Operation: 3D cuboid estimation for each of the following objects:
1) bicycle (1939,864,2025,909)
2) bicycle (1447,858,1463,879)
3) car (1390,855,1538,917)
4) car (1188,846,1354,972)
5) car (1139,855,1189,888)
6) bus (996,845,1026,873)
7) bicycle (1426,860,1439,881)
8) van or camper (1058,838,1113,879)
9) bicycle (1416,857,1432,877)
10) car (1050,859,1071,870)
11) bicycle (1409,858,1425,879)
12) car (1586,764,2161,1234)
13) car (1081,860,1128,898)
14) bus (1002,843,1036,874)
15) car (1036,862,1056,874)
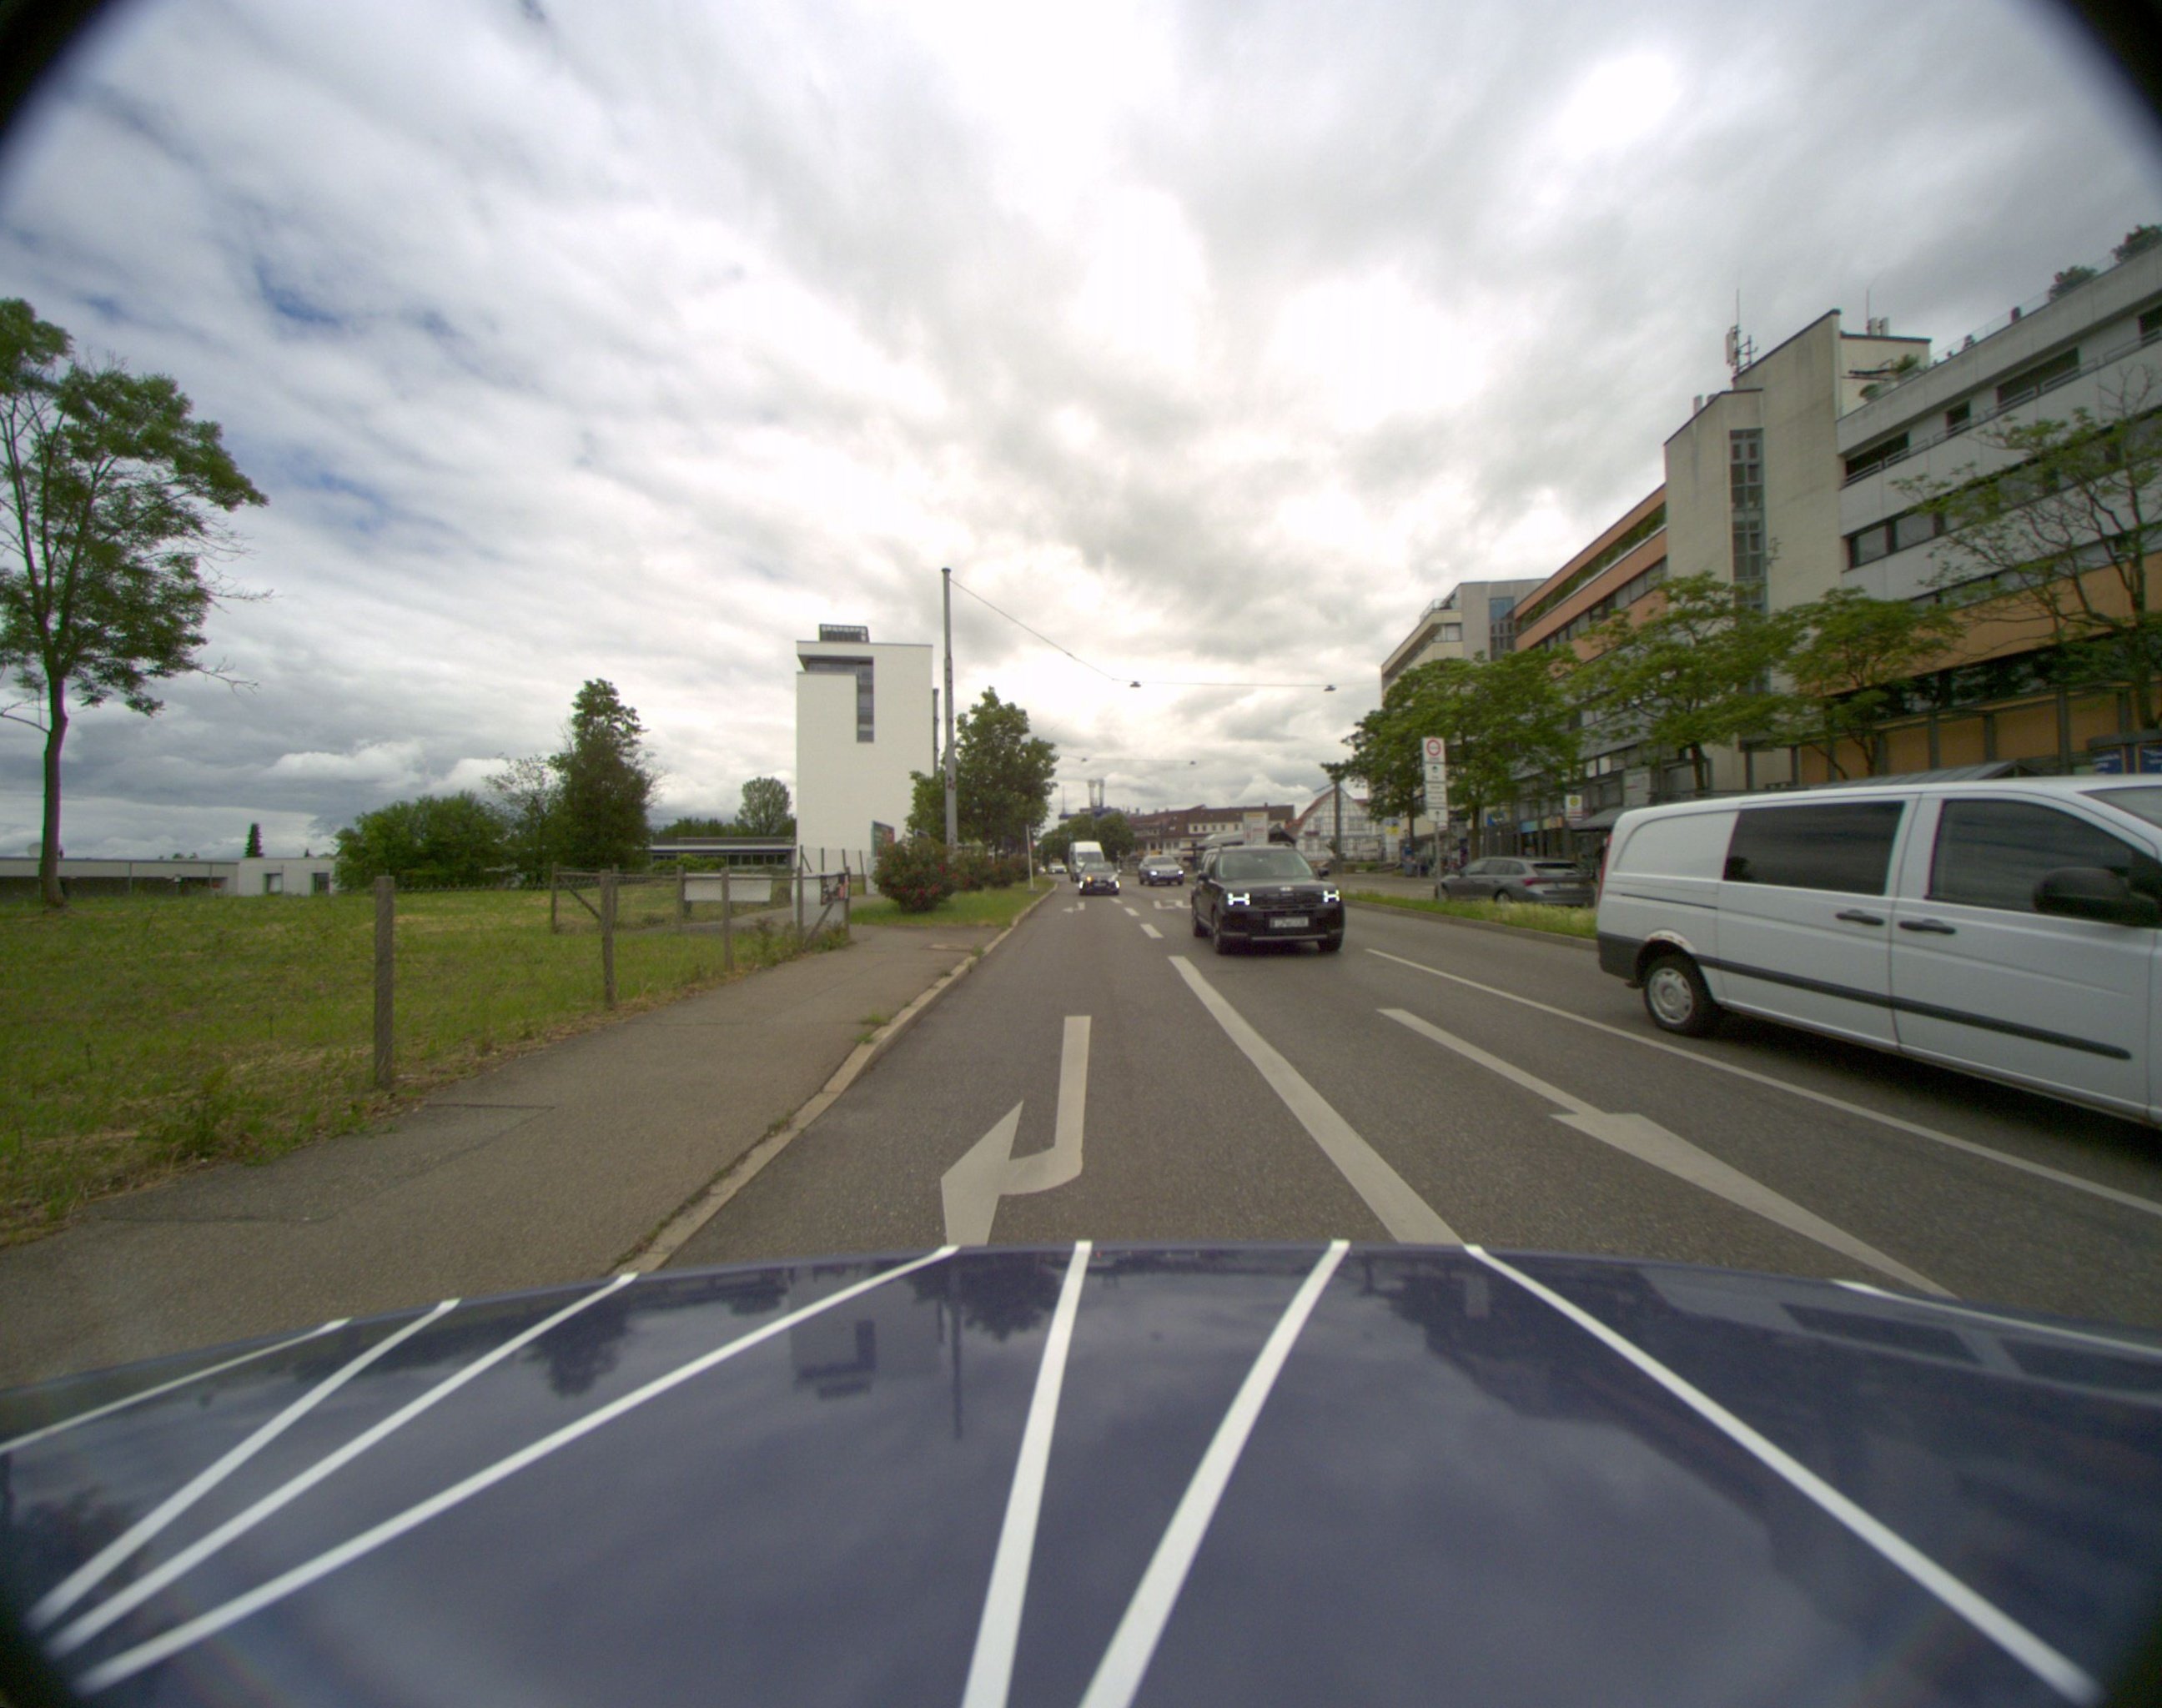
[{"bbox_3d":[24.515,0.859,20.671,2.073,1.147,0.711,-1,0,-15],"label":"bicycle"},{"bbox_3d":[22.055,0.837,44.781,0.625,1.246,1.687,0,0,33],"label":"bicycle"},{"bbox_3d":[10.564,0.807,21.383,1.998,1.565,4.517,0,0,2],"label":"car"},{"bbox_3d":[3.032,0.809,13.180,1.927,1.741,4.680,-2,-1,3],"label":"car"},{"bbox_3d":[4.478,0.943,41.460,1.999,1.640,4.393,-2,0,-2],"label":"car"},{"bbox_3d":[-8.684,0.732,93.525,2.722,3.089,8.863,5,-2,-10],"label":"bus"},{"bbox_3d":[21.564,0.998,46.628,0.431,1.246,1.474,0,0,36],"label":"bicycle"},{"bbox_3d":[0.198,0.396,53.218,2.282,2.690,6.988,0,-1,-13],"label":"van or camper"},{"bbox_3d":[21.385,0.799,47.393,0.625,1.246,1.687,0,0,34],"label":"bicycle"},{"bbox_3d":[-2.638,1.336,96.731,2.000,1.368,3.996,-1,0,-11],"label":"car"},{"bbox_3d":[20.097,0.873,45.434,0.625,1.246,1.687,0,0,33],"label":"bicycle"},{"bbox_3d":[5.543,0.620,4.415,1.878,2.002,5.076,0,0,0],"label":"car"},{"bbox_3d":[1.083,1.060,32.750,1.862,1.516,4.002,0,-1,4],"label":"car"},{"bbox_3d":[-7.039,0.576,84.684,2.722,3.144,9.120,3,-2,-10],"label":"bus"},{"bbox_3d":[-4.385,1.713,94.492,2.000,1.368,3.996,-1,0,-11],"label":"car"}]
